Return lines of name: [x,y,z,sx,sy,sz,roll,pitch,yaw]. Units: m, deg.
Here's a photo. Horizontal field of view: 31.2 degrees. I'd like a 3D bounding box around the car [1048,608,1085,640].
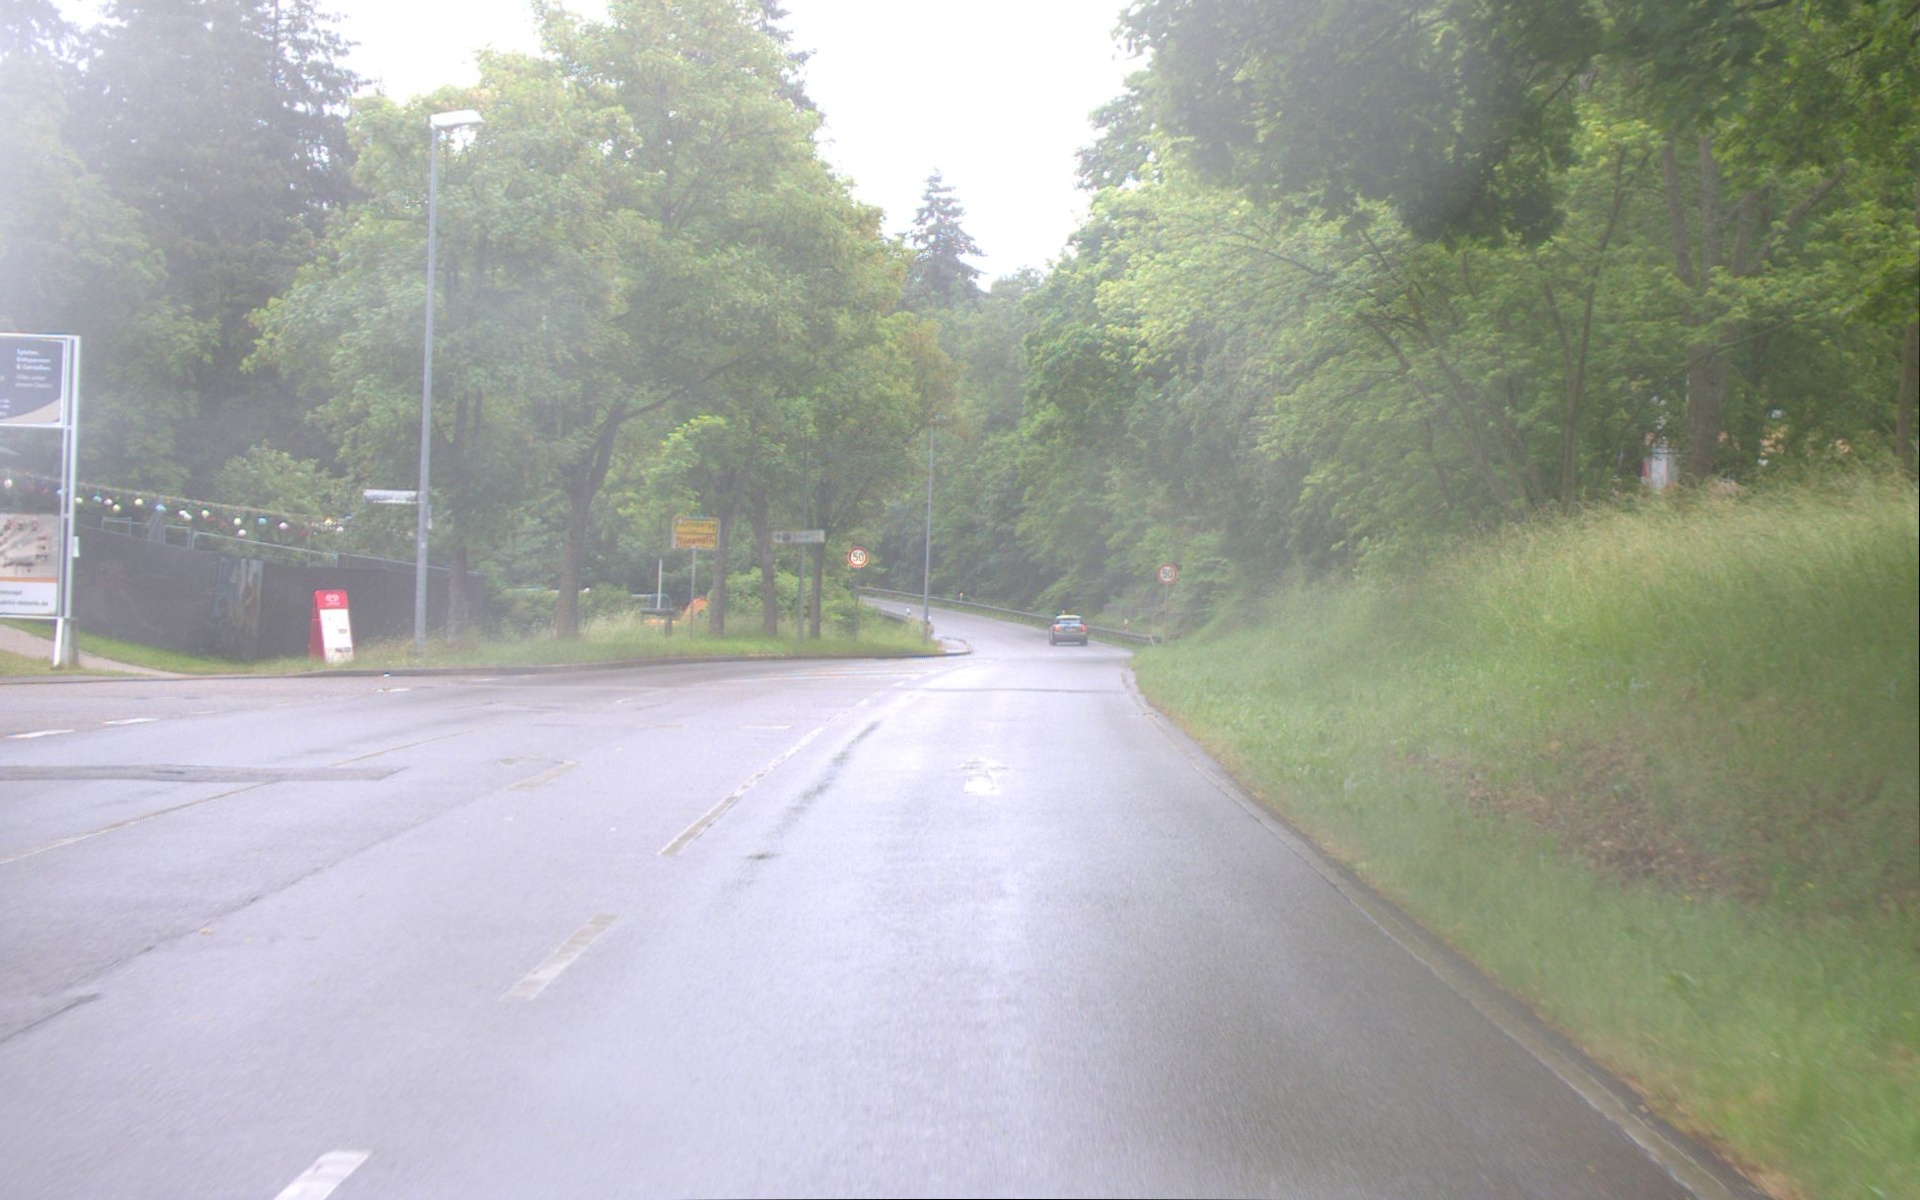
car: [5.175,1.165,167.410,1.736,1.505,4.000,-1,0,1]
